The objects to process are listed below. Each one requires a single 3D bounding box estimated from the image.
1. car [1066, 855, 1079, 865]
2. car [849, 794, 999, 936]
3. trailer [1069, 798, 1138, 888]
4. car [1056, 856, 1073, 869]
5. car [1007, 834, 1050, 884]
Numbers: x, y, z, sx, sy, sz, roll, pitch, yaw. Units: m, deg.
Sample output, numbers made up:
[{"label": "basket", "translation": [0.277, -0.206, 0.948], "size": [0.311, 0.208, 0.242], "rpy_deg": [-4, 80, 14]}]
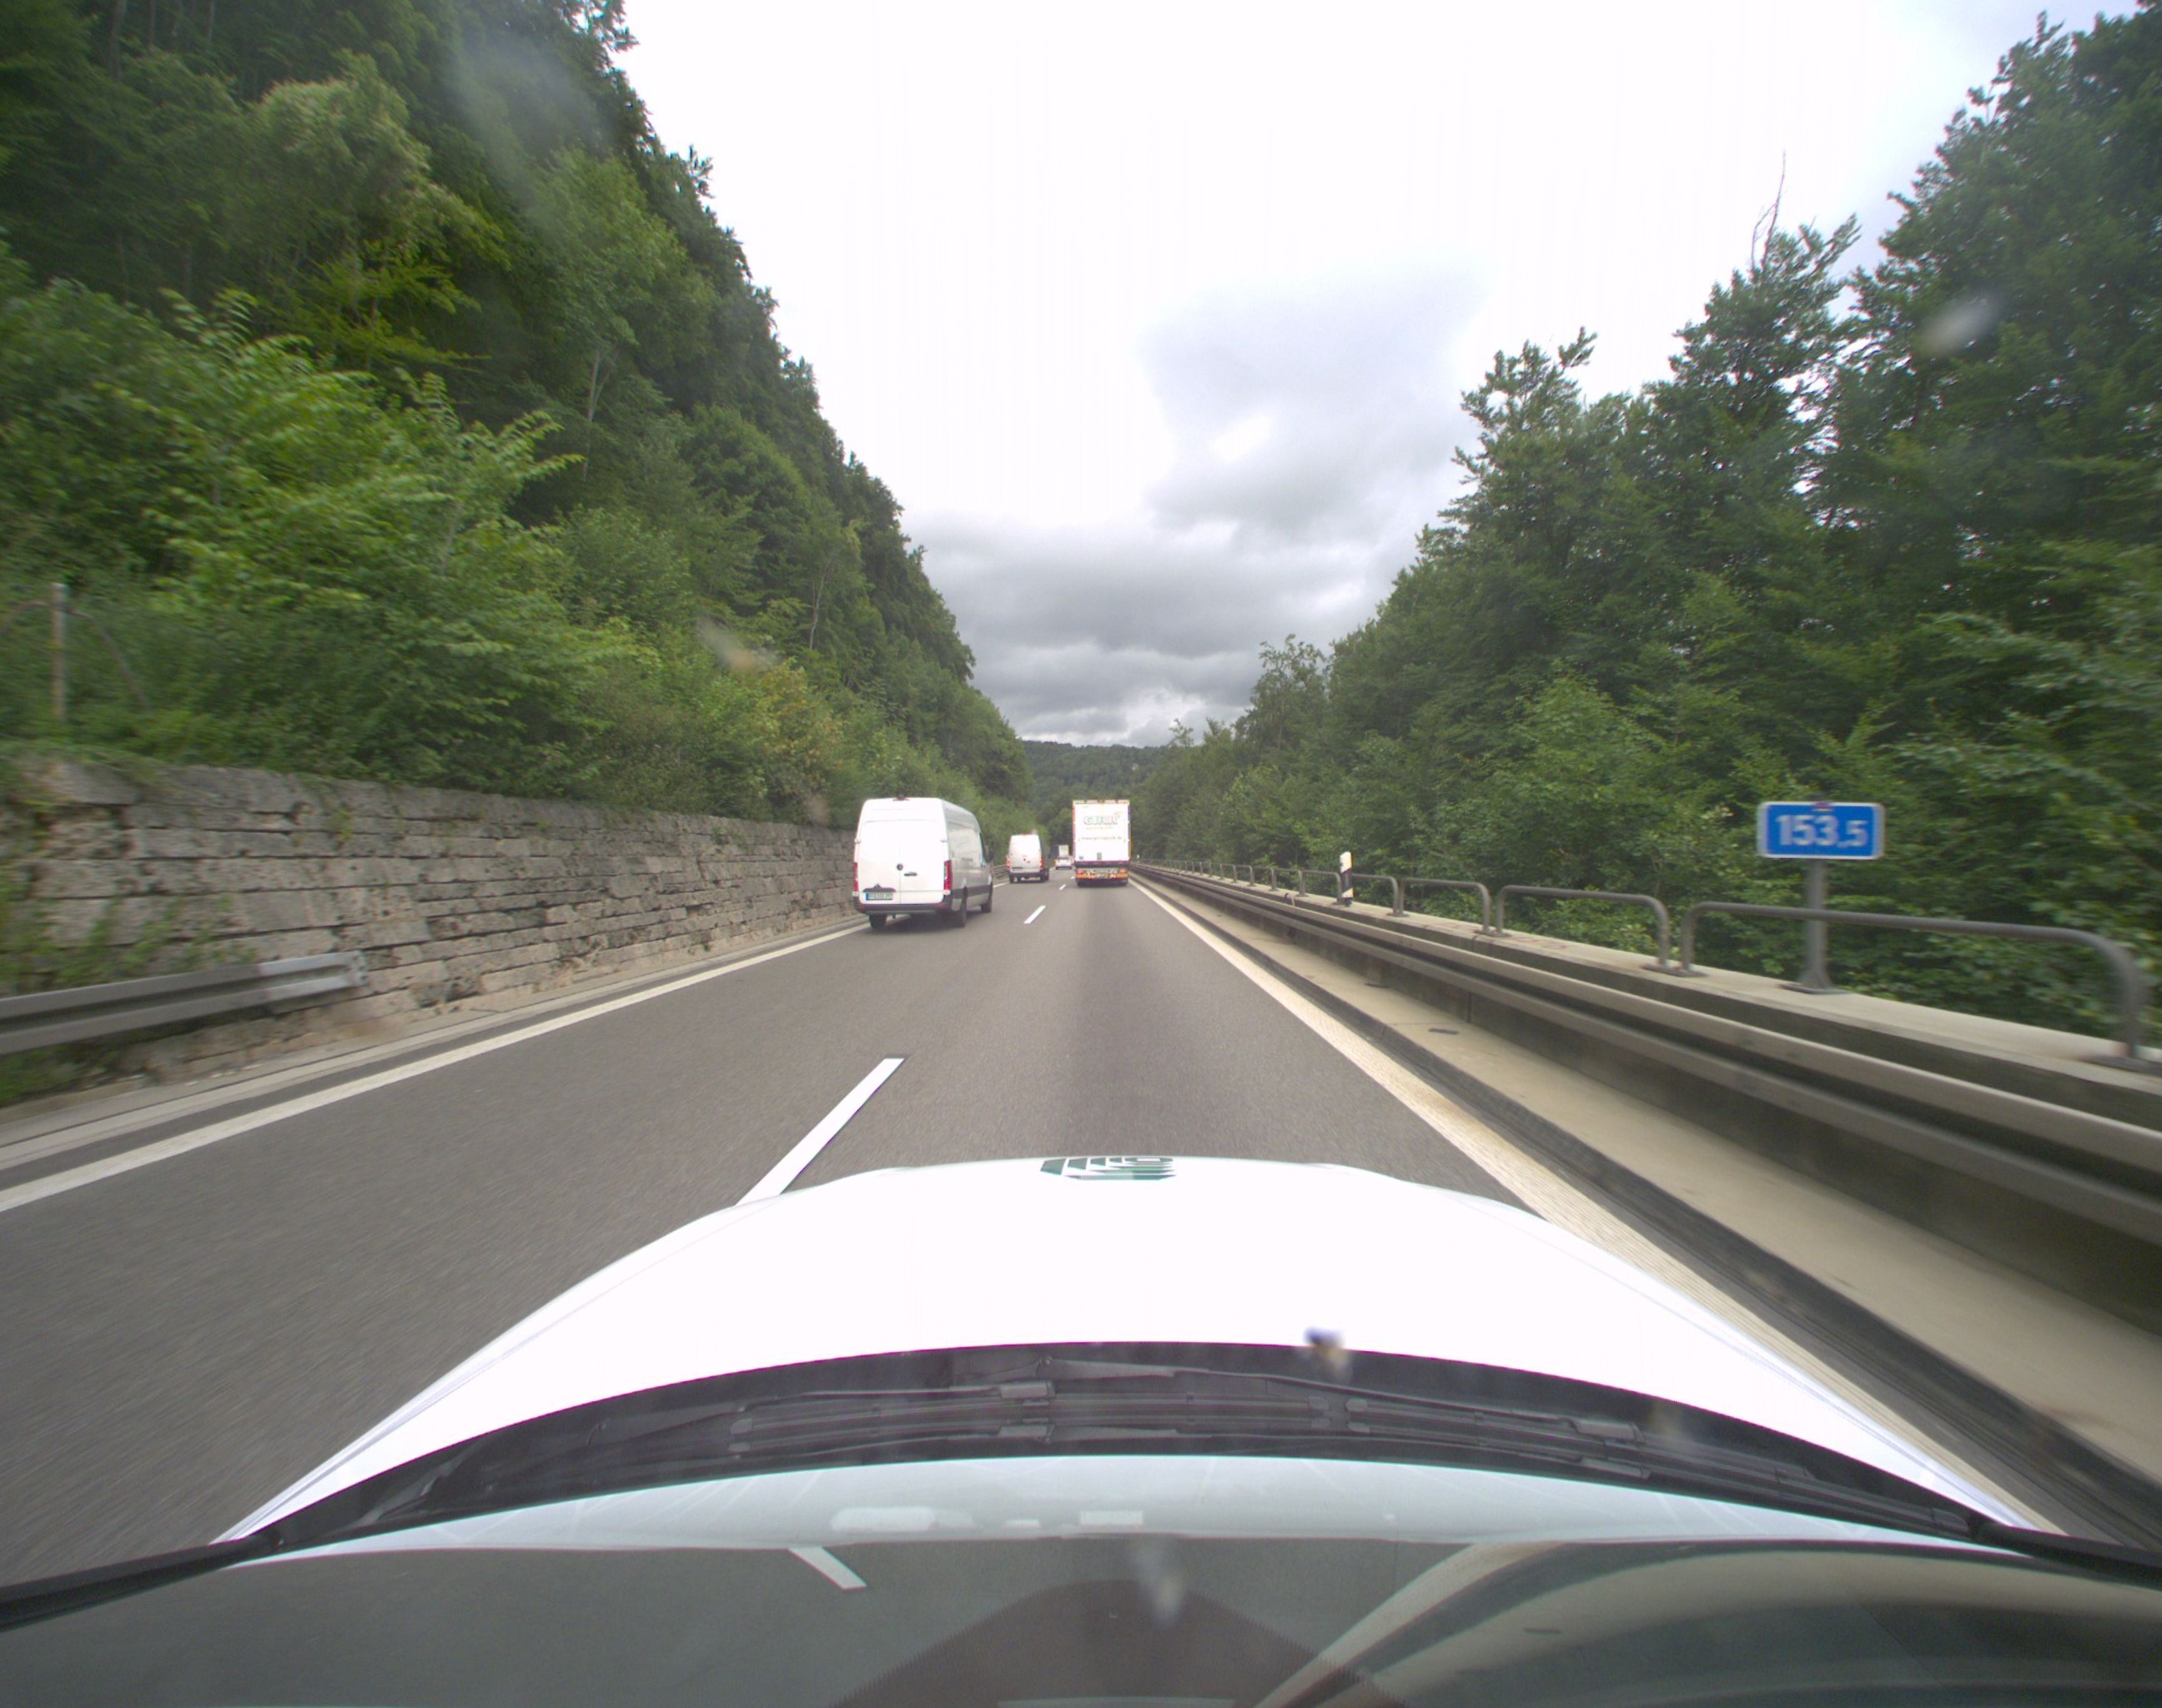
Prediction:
[{"label": "car", "translation": [-1.297, 0.909, 124.323], "size": [1.725, 1.421, 4.001], "rpy_deg": [0, 0, 1]}, {"label": "car", "translation": [-3.342, 0.209, 19.011], "size": [1.982, 2.672, 6.937], "rpy_deg": [-1, 0, 1]}, {"label": "trailer", "translation": [1.154, -0.601, 42.260], "size": [3.046, 3.986, 12.140], "rpy_deg": [0, 1, 1]}, {"label": "car", "translation": [-1.779, 0.927, 89.466], "size": [1.725, 1.421, 4.002], "rpy_deg": [0, 0, 2]}, {"label": "car", "translation": [-2.944, 0.265, 47.080], "size": [1.933, 2.672, 5.992], "rpy_deg": [-1, 0, 1]}]
